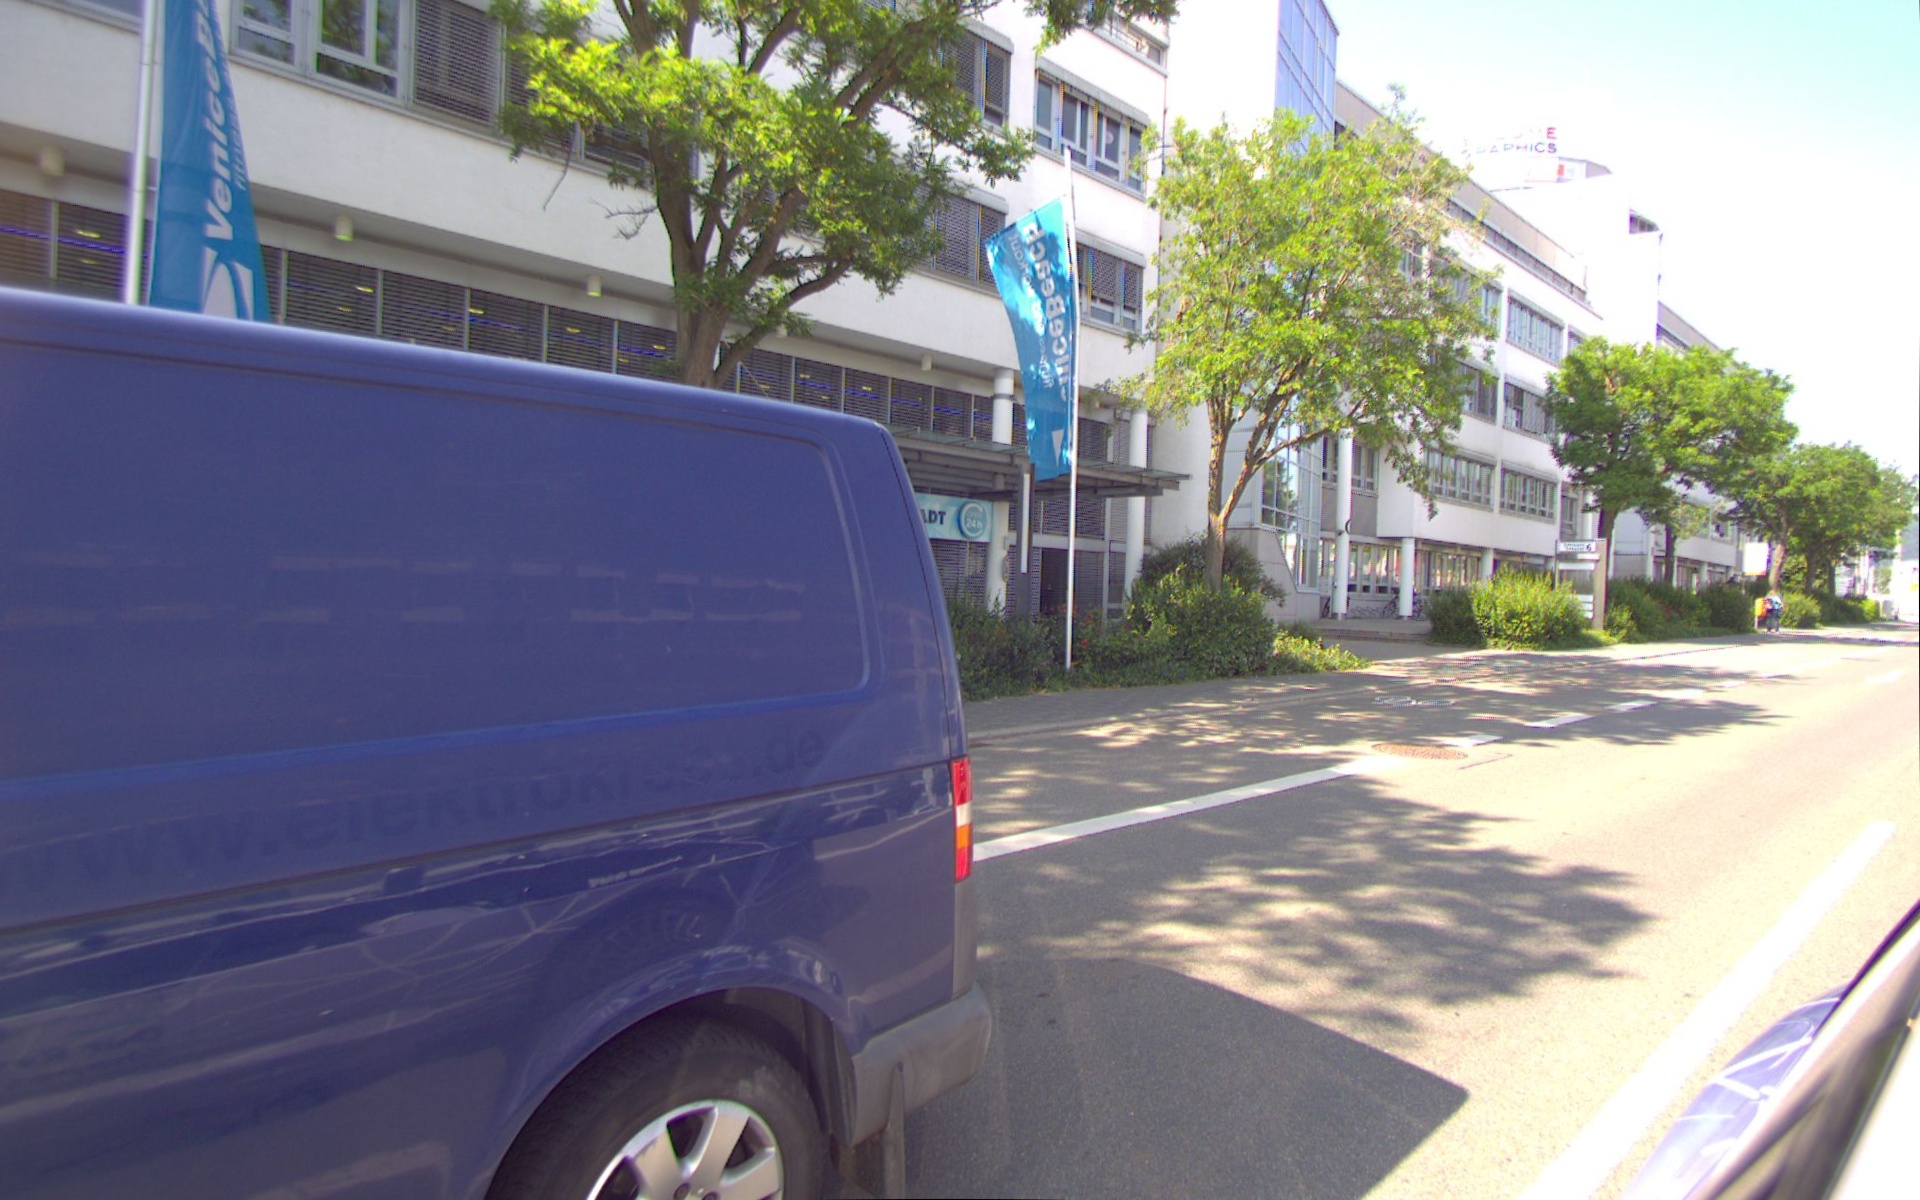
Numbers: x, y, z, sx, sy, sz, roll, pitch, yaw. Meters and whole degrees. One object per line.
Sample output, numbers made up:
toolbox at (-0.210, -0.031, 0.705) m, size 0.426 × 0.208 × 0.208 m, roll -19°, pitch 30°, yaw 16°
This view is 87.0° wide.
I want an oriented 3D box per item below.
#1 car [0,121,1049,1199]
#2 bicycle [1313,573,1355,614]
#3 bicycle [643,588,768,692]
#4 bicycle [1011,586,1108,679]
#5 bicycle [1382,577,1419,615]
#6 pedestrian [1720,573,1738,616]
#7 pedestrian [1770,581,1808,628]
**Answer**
car at (-2.258, 0.409, 1.519) m, size 4.806 × 1.972 × 1.997 m, roll -1°, pitch 2°, yaw -41°
bicycle at (12.904, -0.216, 34.891) m, size 1.852 × 1.371 × 0.506 m, roll 0°, pitch 1°, yaw -41°
bicycle at (-3.634, 0.535, 14.379) m, size 1.868 × 1.346 × 0.501 m, roll 2°, pitch 1°, yaw 30°
bicycle at (1.569, 0.477, 15.686) m, size 0.504 × 1.346 × 1.856 m, roll 2°, pitch 1°, yaw 41°
bicycle at (16.345, -0.147, 37.514) m, size 1.852 × 1.371 × 0.506 m, roll 0°, pitch 1°, yaw -41°
pedestrian at (46.114, -0.343, 60.669) m, size 0.704 × 2.581 × 0.716 m, roll 0°, pitch 1°, yaw -43°
pedestrian at (35.193, 0.182, 42.943) m, size 1.267 × 1.909 × 0.942 m, roll 0°, pitch 4°, yaw -41°
